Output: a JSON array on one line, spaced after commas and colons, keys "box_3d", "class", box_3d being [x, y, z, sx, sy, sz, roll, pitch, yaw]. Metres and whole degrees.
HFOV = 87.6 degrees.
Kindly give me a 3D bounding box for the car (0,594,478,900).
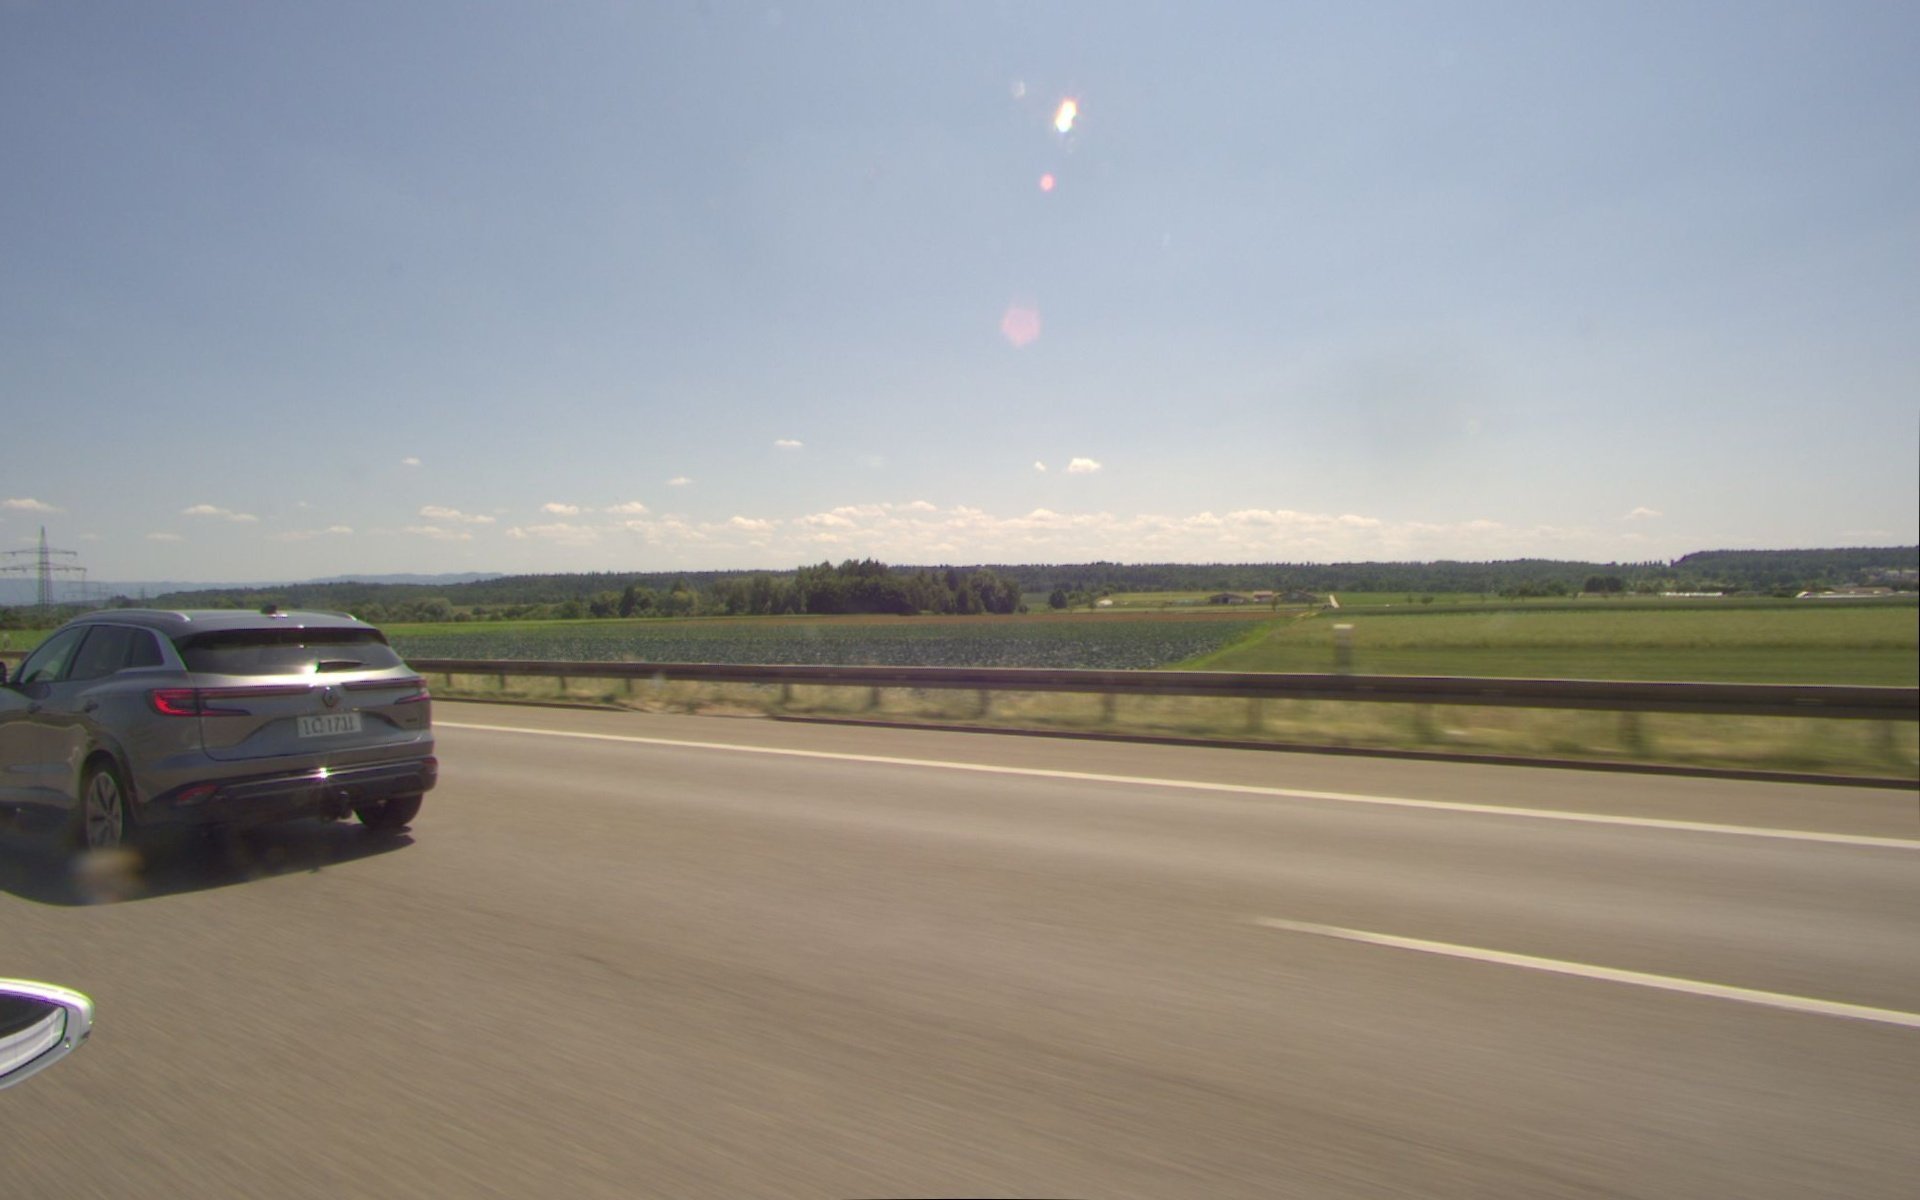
[{"box_3d": [-5.810, 0.856, 7.482, 4.579, 1.670, 1.847, -1, -1, 33], "class": "car"}]
